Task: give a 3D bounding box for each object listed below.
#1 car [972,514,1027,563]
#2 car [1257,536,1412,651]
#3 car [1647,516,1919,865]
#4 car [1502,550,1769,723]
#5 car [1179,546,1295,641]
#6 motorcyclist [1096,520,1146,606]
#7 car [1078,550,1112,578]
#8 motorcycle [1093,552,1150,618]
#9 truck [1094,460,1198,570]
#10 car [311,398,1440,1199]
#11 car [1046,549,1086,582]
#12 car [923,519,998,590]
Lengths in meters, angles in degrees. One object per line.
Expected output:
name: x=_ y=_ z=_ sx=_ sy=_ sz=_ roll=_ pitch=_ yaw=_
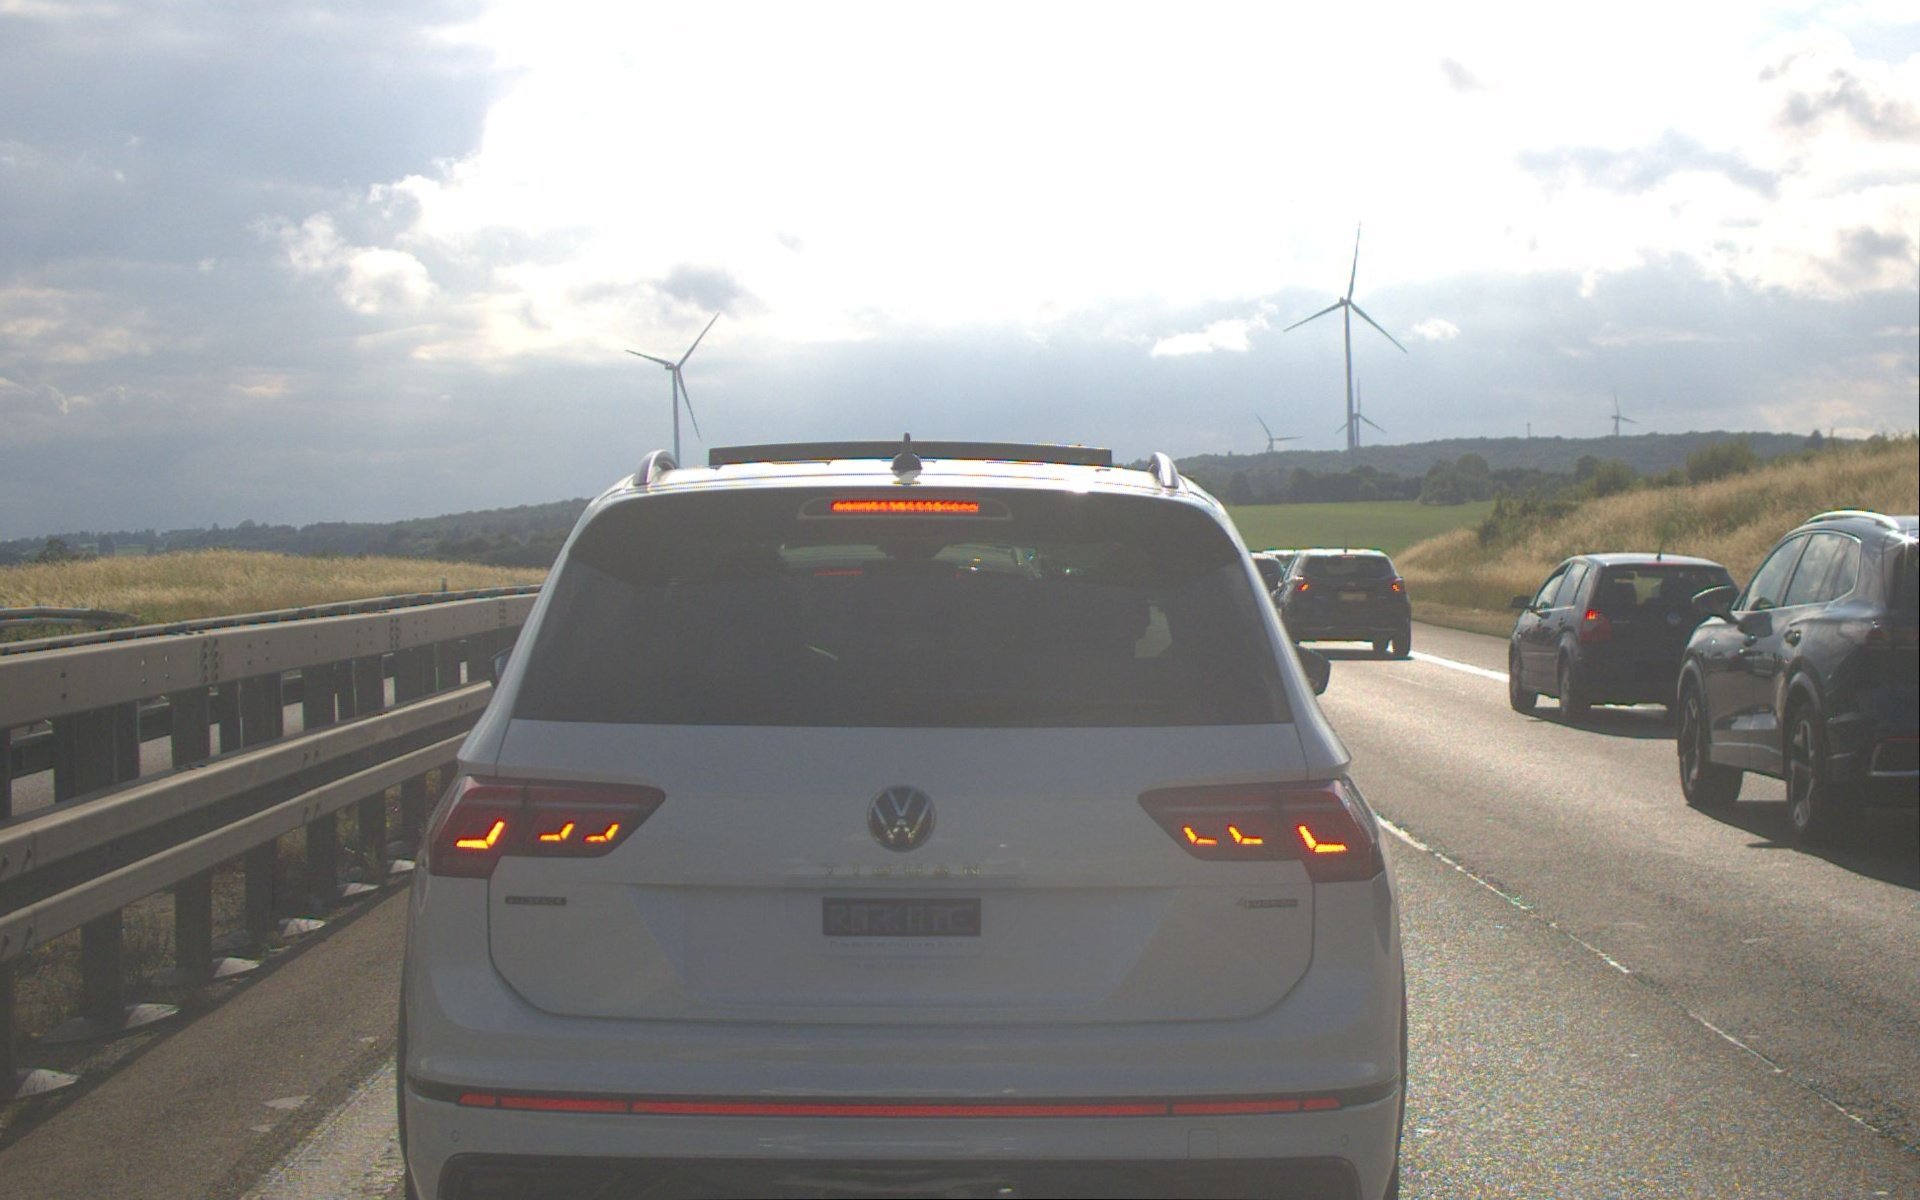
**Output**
car: x=1.259 y=-1.977 z=110.829 sx=1.704 sy=1.540 sz=4.000 roll=0 pitch=1 yaw=-1
car: x=5.213 y=-0.111 z=48.288 sx=1.704 sy=1.540 sz=4.000 roll=0 pitch=1 yaw=-1
car: x=4.966 y=0.408 z=17.937 sx=1.821 sy=1.596 sz=4.235 roll=1 pitch=1 yaw=-1
car: x=5.820 y=0.275 z=29.978 sx=1.605 sy=1.415 sz=3.672 roll=0 pitch=1 yaw=0
car: x=4.907 y=-0.141 z=61.224 sx=1.704 sy=1.644 sz=4.000 roll=0 pitch=1 yaw=-1
motorcyclist: x=2.937 y=-0.680 z=62.740 sx=0.849 sy=1.554 sz=0.934 roll=0 pitch=1 yaw=-1
car: x=7.524 y=-2.019 z=191.869 sx=1.704 sy=1.540 sz=4.000 roll=0 pitch=1 yaw=-1
motorcycle: x=2.935 y=-0.290 z=62.789 sx=0.895 sy=1.186 sz=2.257 roll=0 pitch=1 yaw=-1
truck: x=6.255 y=-2.896 z=116.968 sx=3.184 sy=3.581 sz=11.130 roll=0 pitch=1 yaw=1
car: x=-0.151 y=0.493 z=7.400 sx=1.770 sy=1.670 sz=4.000 roll=0 pitch=1 yaw=-1
car: x=4.980 y=-1.623 z=161.463 sx=1.704 sy=1.540 sz=4.000 roll=0 pitch=1 yaw=-1
car: x=-0.008 y=-1.067 z=80.970 sx=1.704 sy=1.644 sz=4.000 roll=0 pitch=1 yaw=-1
